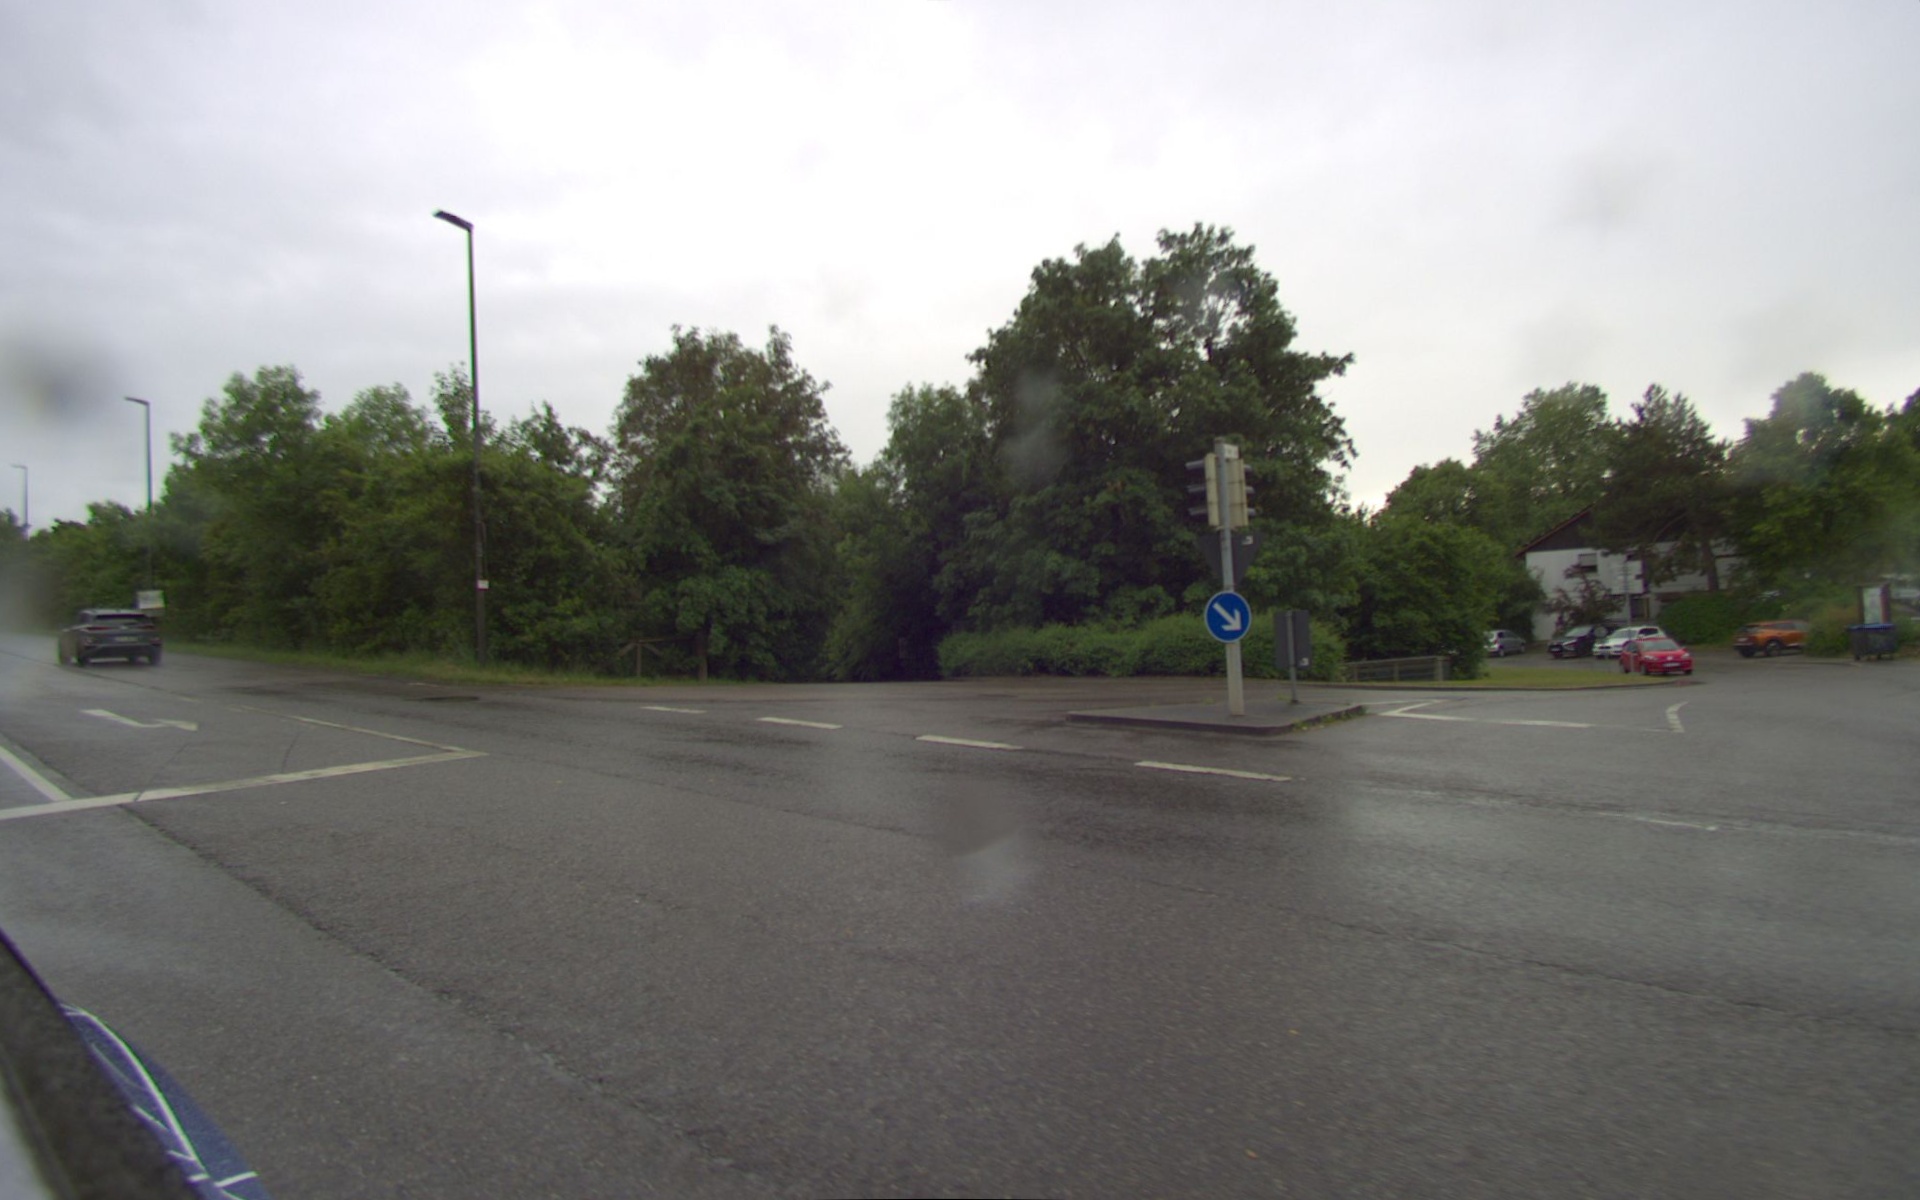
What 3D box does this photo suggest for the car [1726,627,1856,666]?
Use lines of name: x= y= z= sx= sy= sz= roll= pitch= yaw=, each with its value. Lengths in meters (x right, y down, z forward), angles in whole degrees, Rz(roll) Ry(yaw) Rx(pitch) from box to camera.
car: x=36.812 y=2.044 z=44.937 sx=3.955 sy=1.597 sz=1.994 roll=0 pitch=0 yaw=9

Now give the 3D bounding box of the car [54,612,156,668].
car: x=-24.331 y=1.103 z=28.769 sx=3.998 sy=1.481 sz=1.622 roll=-1 pitch=-1 yaw=41

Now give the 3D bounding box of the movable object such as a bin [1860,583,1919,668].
movable object such as a bin: x=35.509 y=0.939 z=38.377 sx=1.291 sy=3.174 sz=1.793 roll=0 pitch=0 yaw=9

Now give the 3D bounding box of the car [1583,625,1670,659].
car: x=34.935 y=2.183 z=53.034 sx=3.930 sy=1.597 sz=2.007 roll=0 pitch=0 yaw=-24

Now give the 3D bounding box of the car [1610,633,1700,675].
car: x=27.540 y=2.116 z=40.247 sx=1.535 sy=1.413 sz=3.984 roll=0 pitch=0 yaw=13

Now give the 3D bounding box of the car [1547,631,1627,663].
car: x=34.321 y=2.547 z=55.380 sx=3.930 sy=1.597 sz=1.742 roll=0 pitch=0 yaw=-22
